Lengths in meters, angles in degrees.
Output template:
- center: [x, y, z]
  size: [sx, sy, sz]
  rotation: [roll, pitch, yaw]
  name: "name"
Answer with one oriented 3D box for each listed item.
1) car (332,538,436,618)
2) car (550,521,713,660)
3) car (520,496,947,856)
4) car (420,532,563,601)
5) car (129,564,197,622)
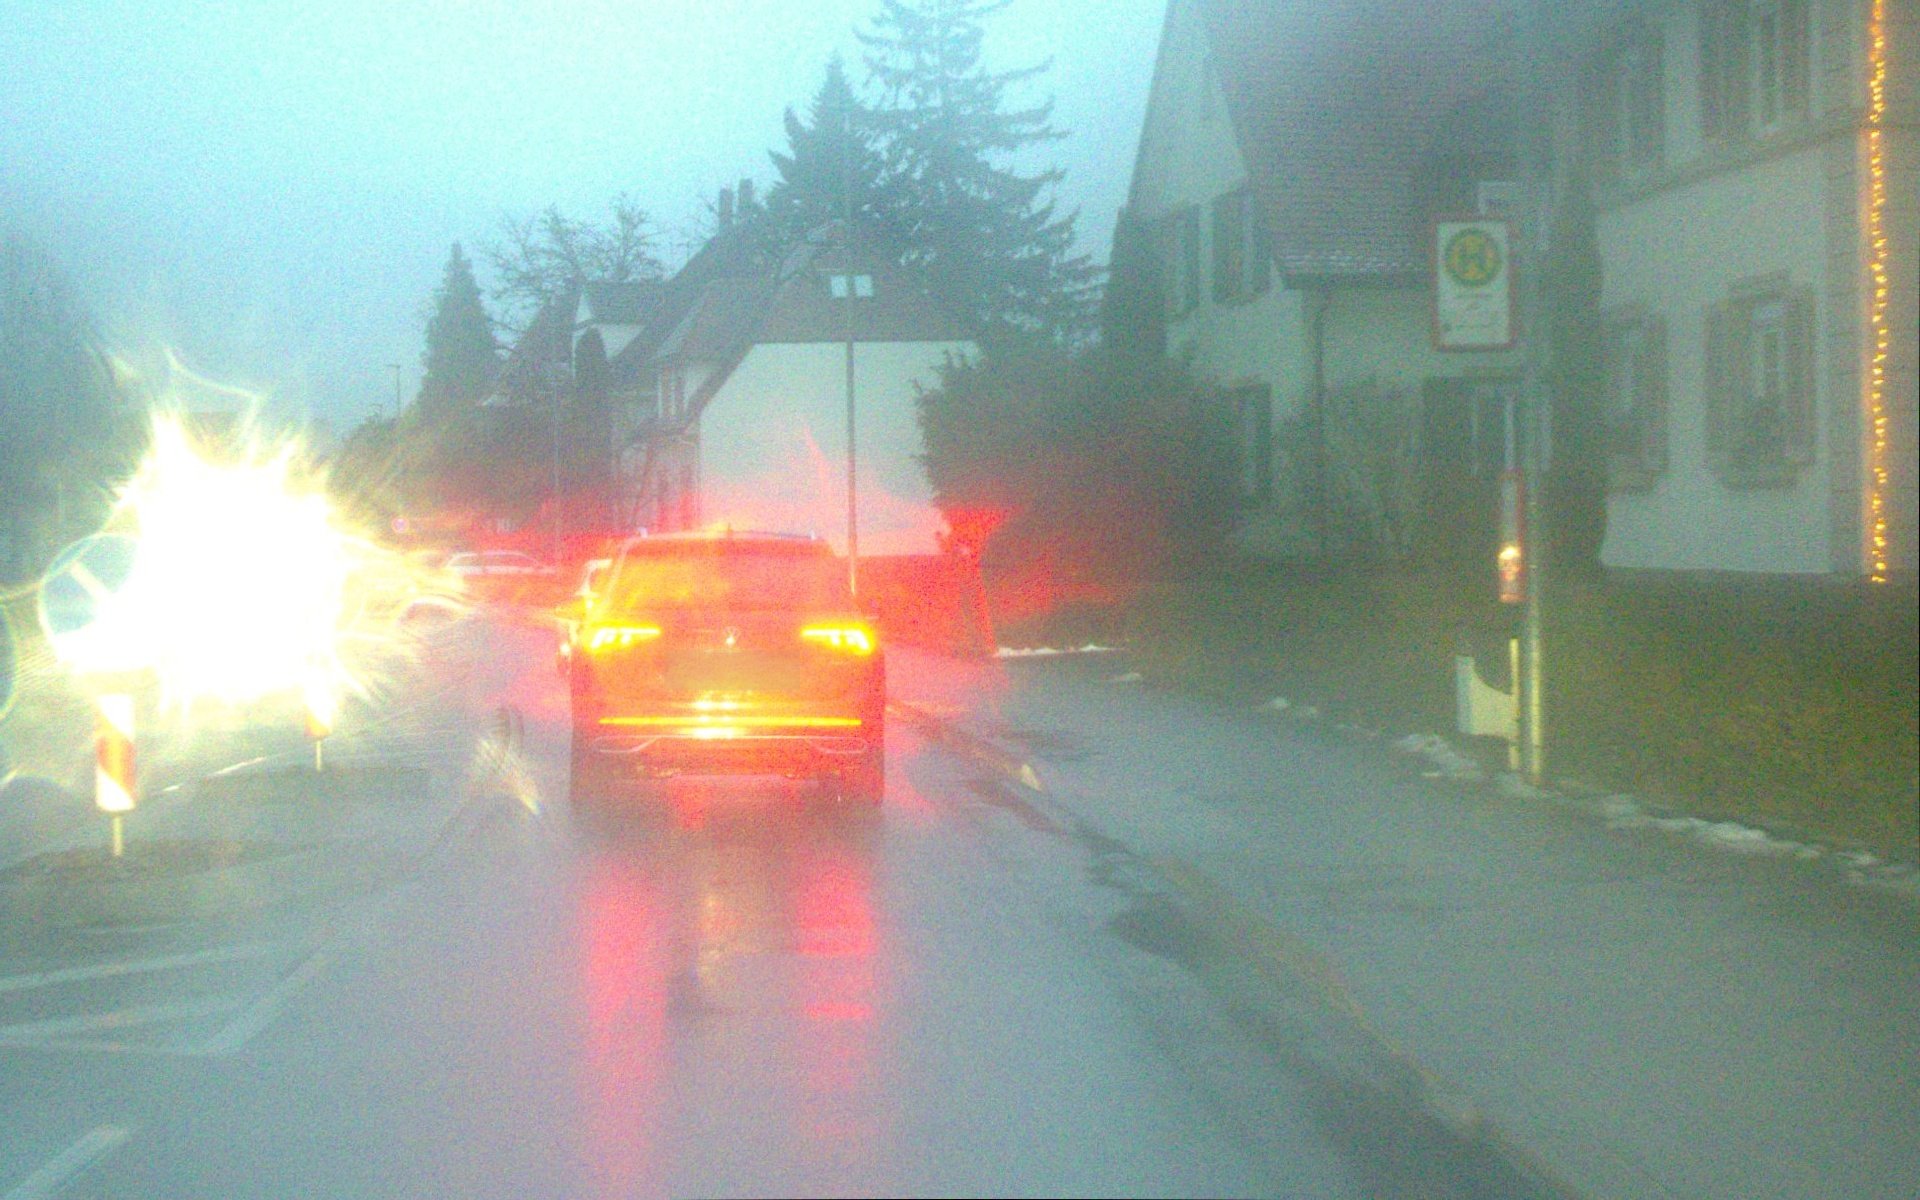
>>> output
- center: [-14.573, -0.554, 86.784]
  size: [2.309, 1.932, 5.019]
  rotation: [-1, 0, -13]
  name: "car"
- center: [-4.135, -0.160, 42.788]
  size: [1.857, 1.641, 4.001]
  rotation: [0, 1, -8]
  name: "car"
- center: [-1.422, 0.395, 21.395]
  size: [2.309, 1.932, 5.019]
  rotation: [-1, 0, -4]
  name: "car"
- center: [-14.472, -1.033, 106.187]
  size: [4.245, 2.007, 1.811]
  rotation: [-1, 1, -10]
  name: "car"
- center: [-22.853, -0.209, 98.643]
  size: [1.823, 1.548, 4.001]
  rotation: [-2, 1, -13]
  name: "car"
